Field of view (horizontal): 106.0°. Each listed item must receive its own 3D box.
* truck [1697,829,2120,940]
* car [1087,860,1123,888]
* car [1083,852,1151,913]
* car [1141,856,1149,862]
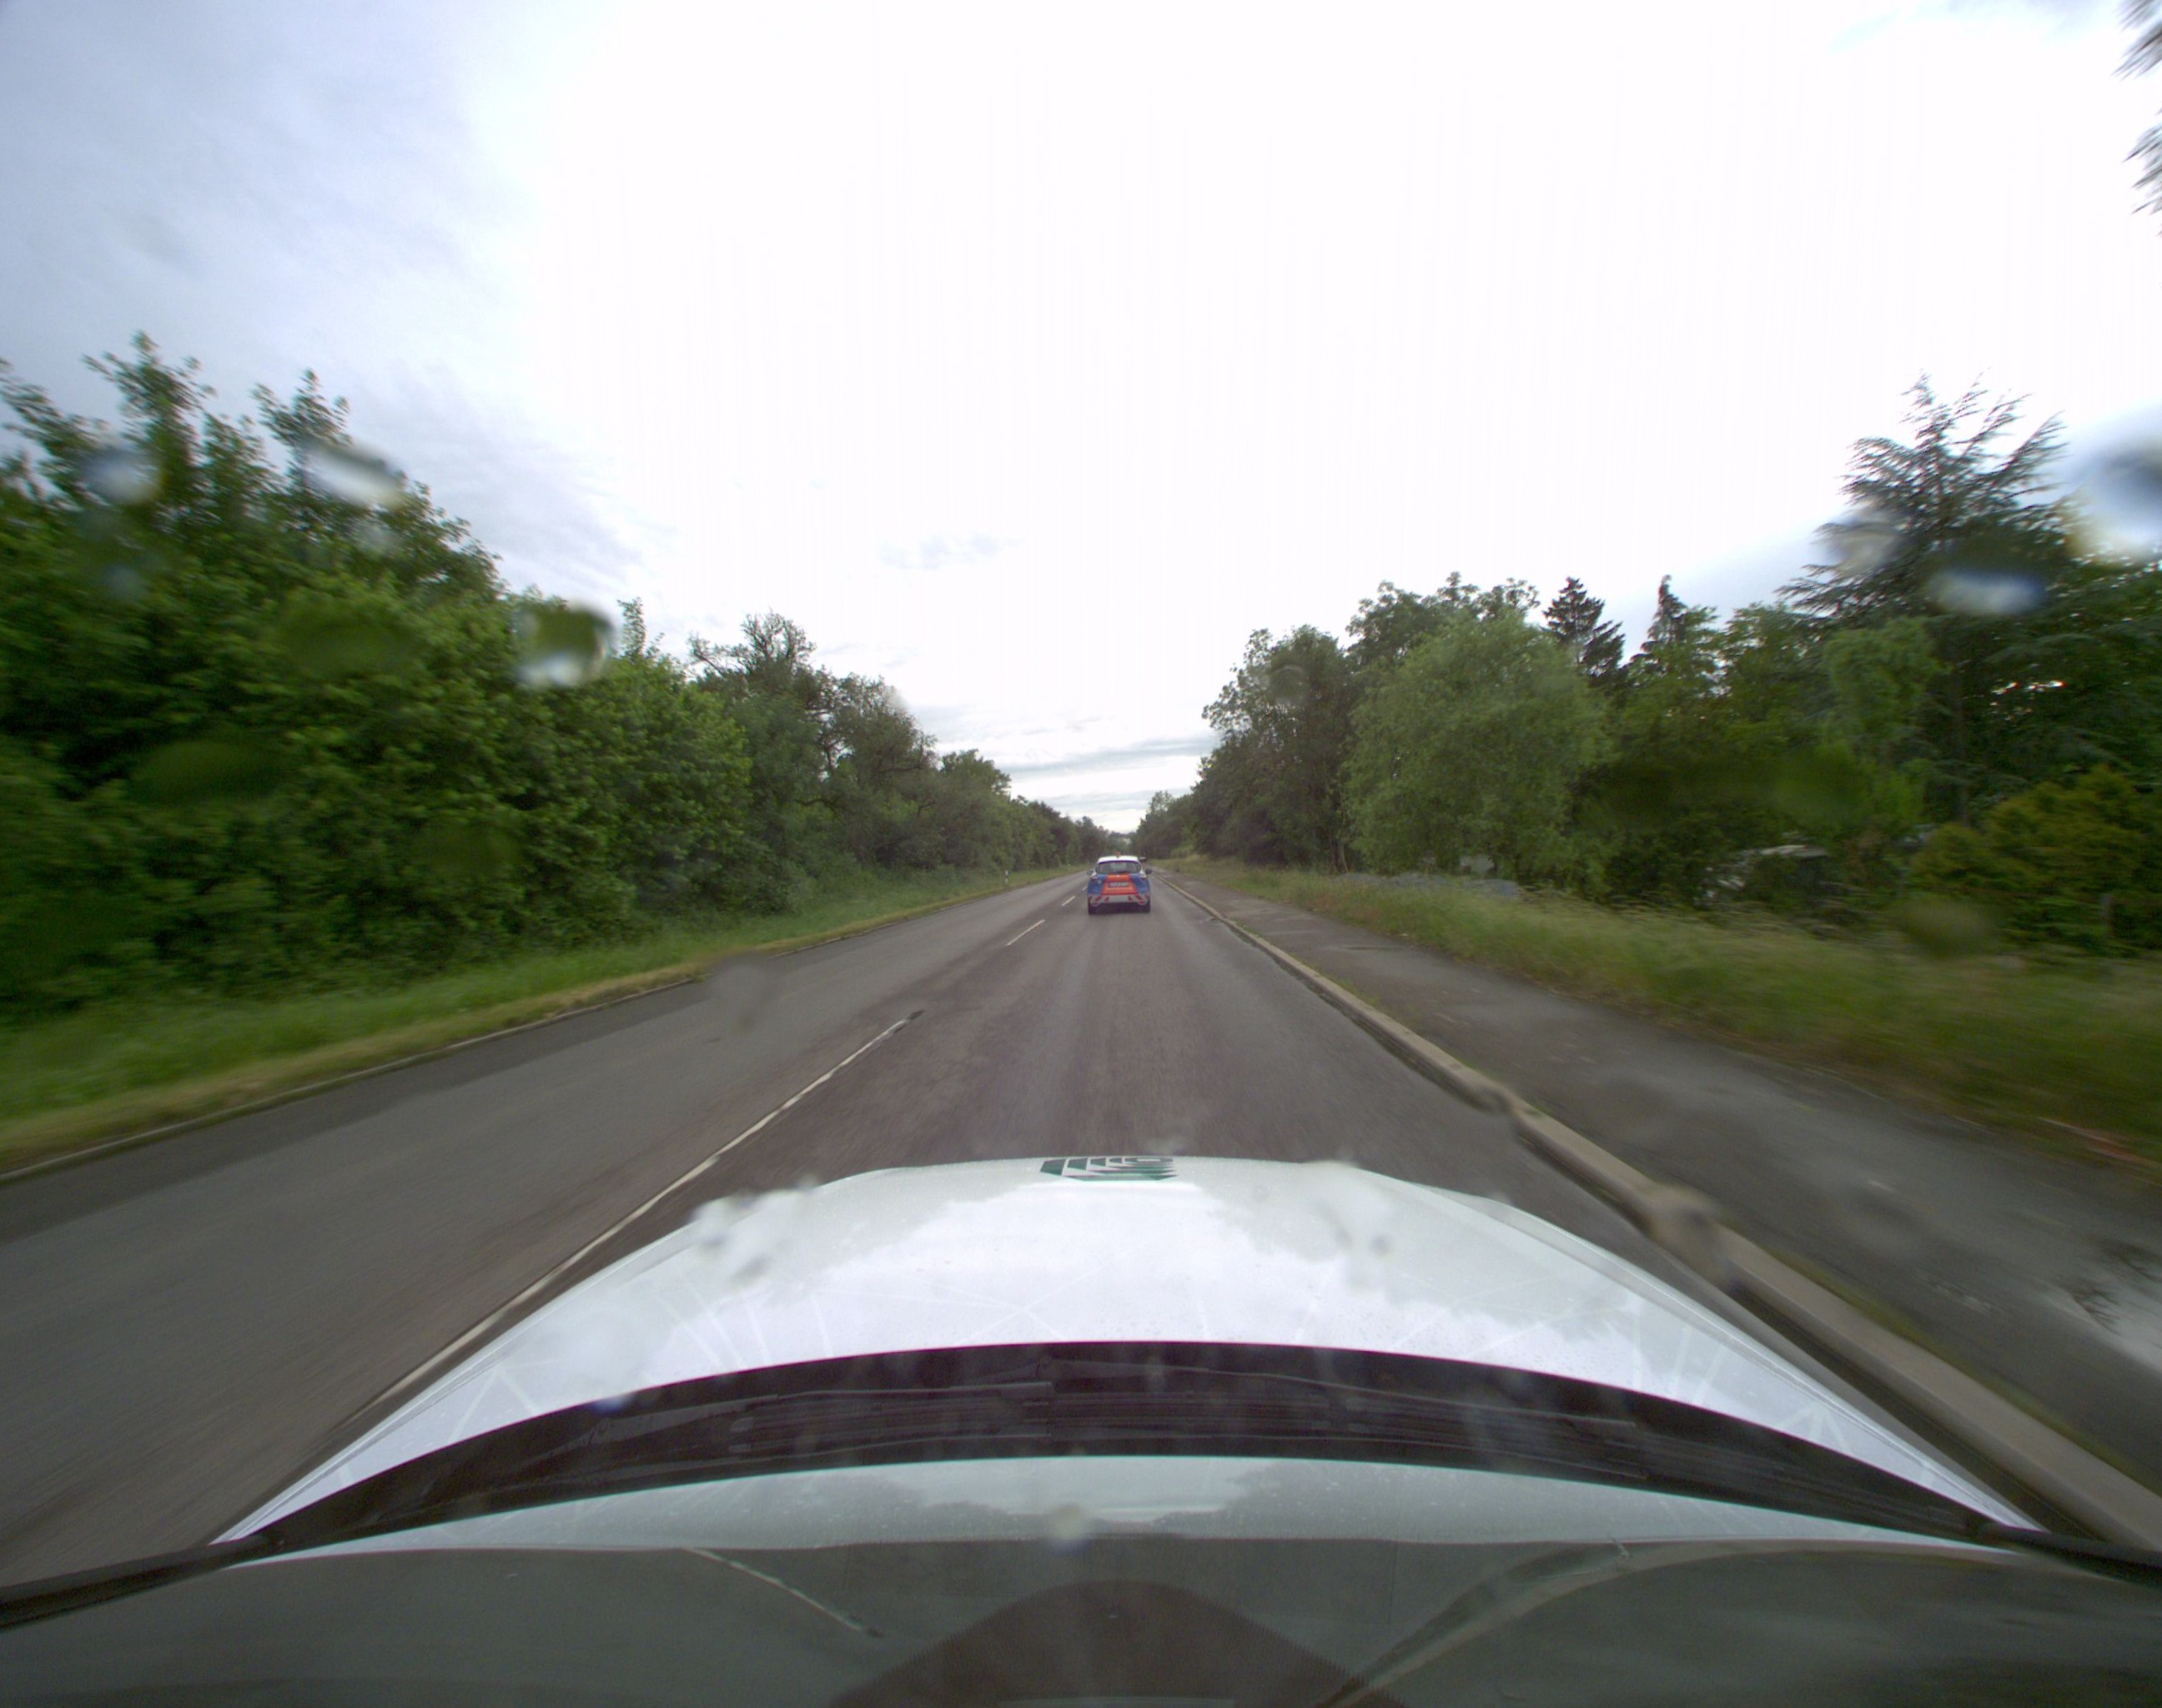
[{"bbox_3d":[19.090,0.731,19.234,6.997,2.359,2.074,-2,0,12],"label":"truck"},{"bbox_3d":[1.236,0.967,40.876,1.591,1.287,3.480,-3,0,4],"label":"car"},{"bbox_3d":[1.058,0.746,23.353,1.745,1.555,3.796,-1,0,3],"label":"car"},{"bbox_3d":[16.062,1.338,204.964,1.985,1.376,4.004,-3,-1,4],"label":"car"}]
